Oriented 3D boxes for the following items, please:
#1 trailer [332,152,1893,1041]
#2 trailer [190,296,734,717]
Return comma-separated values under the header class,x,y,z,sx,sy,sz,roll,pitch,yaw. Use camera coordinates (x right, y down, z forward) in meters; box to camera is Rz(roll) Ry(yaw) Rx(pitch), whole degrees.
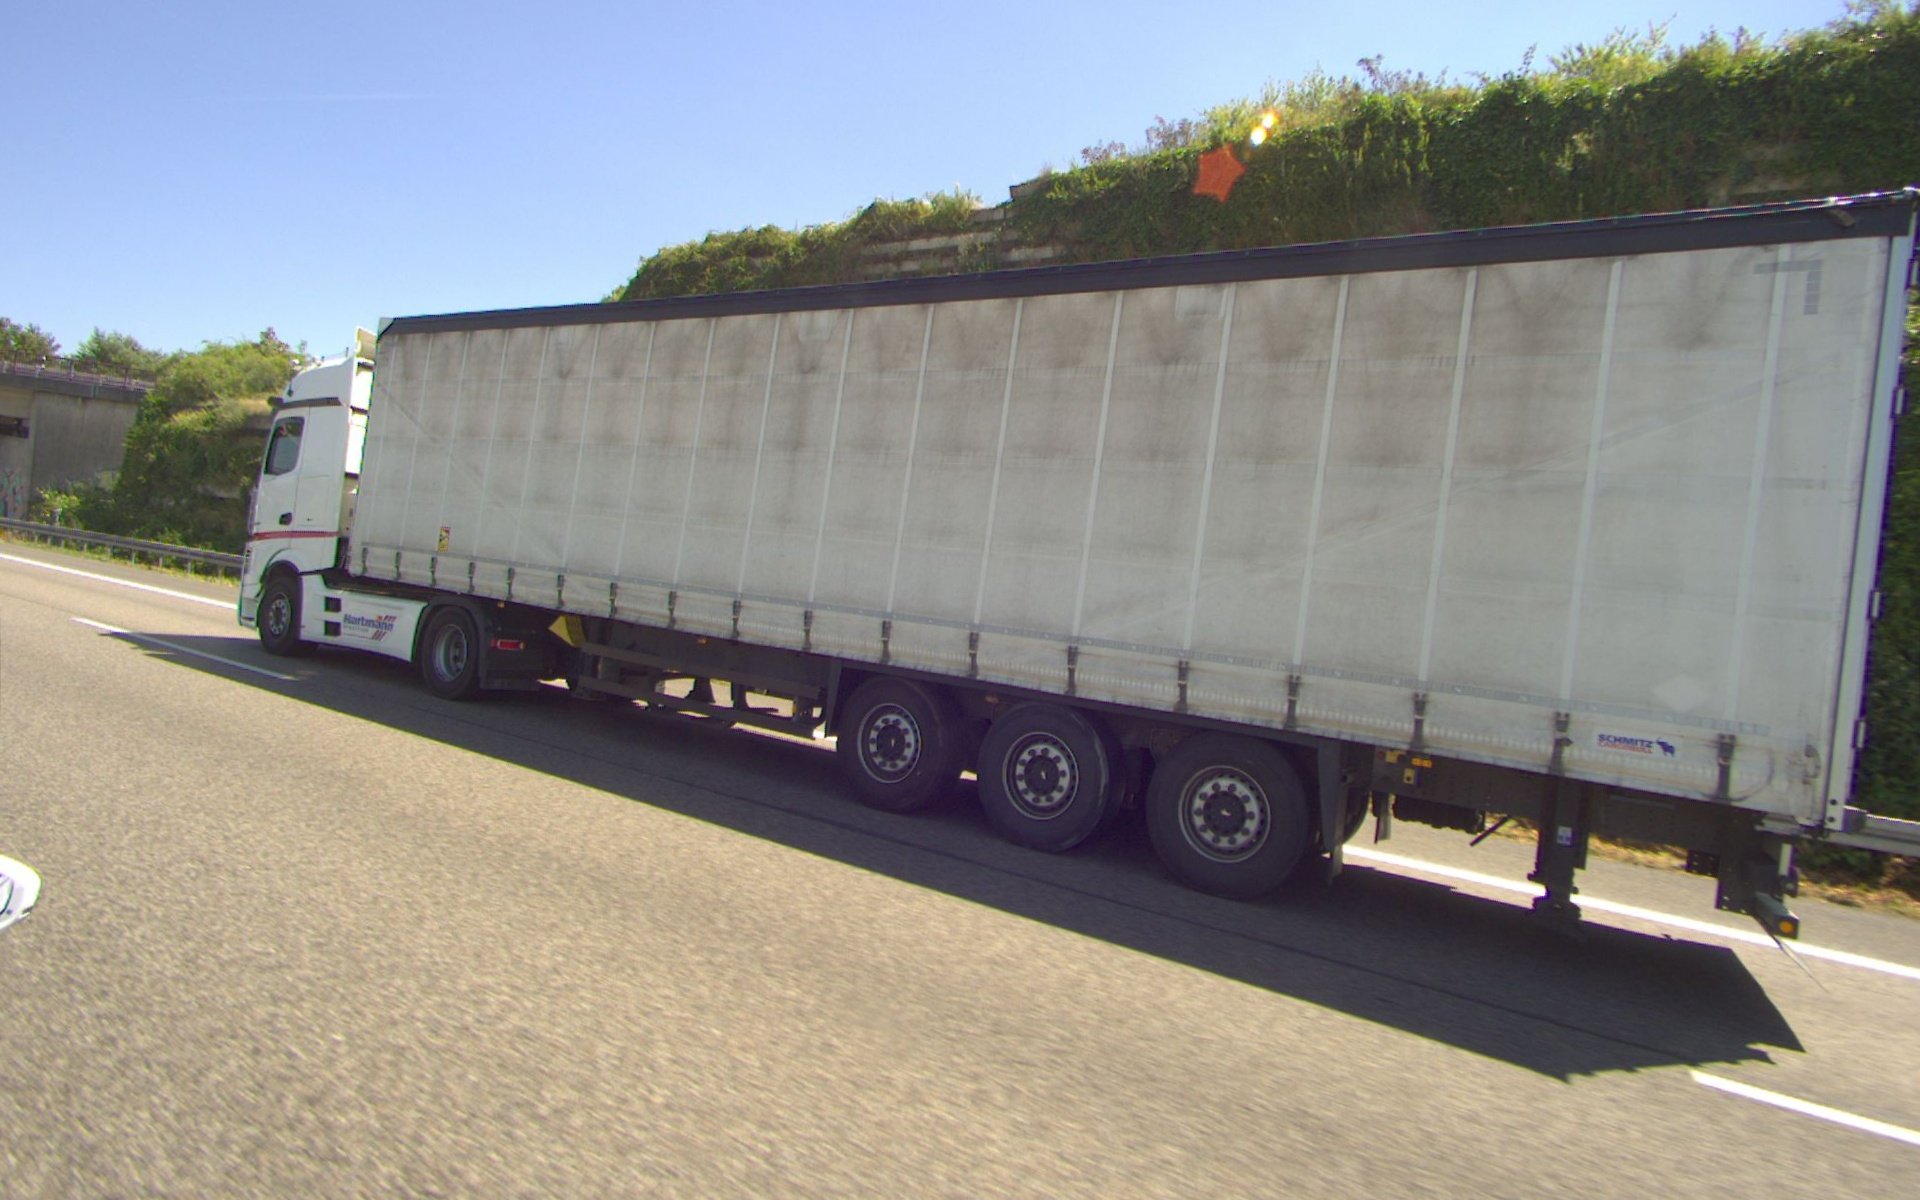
class,x,y,z,sx,sy,sz,roll,pitch,yaw
trailer,-0.726,-0.519,9.229,12.970,4.152,2.732,6,0,31
trailer,-6.496,-1.124,12.785,6.676,4.153,2.717,7,0,31
